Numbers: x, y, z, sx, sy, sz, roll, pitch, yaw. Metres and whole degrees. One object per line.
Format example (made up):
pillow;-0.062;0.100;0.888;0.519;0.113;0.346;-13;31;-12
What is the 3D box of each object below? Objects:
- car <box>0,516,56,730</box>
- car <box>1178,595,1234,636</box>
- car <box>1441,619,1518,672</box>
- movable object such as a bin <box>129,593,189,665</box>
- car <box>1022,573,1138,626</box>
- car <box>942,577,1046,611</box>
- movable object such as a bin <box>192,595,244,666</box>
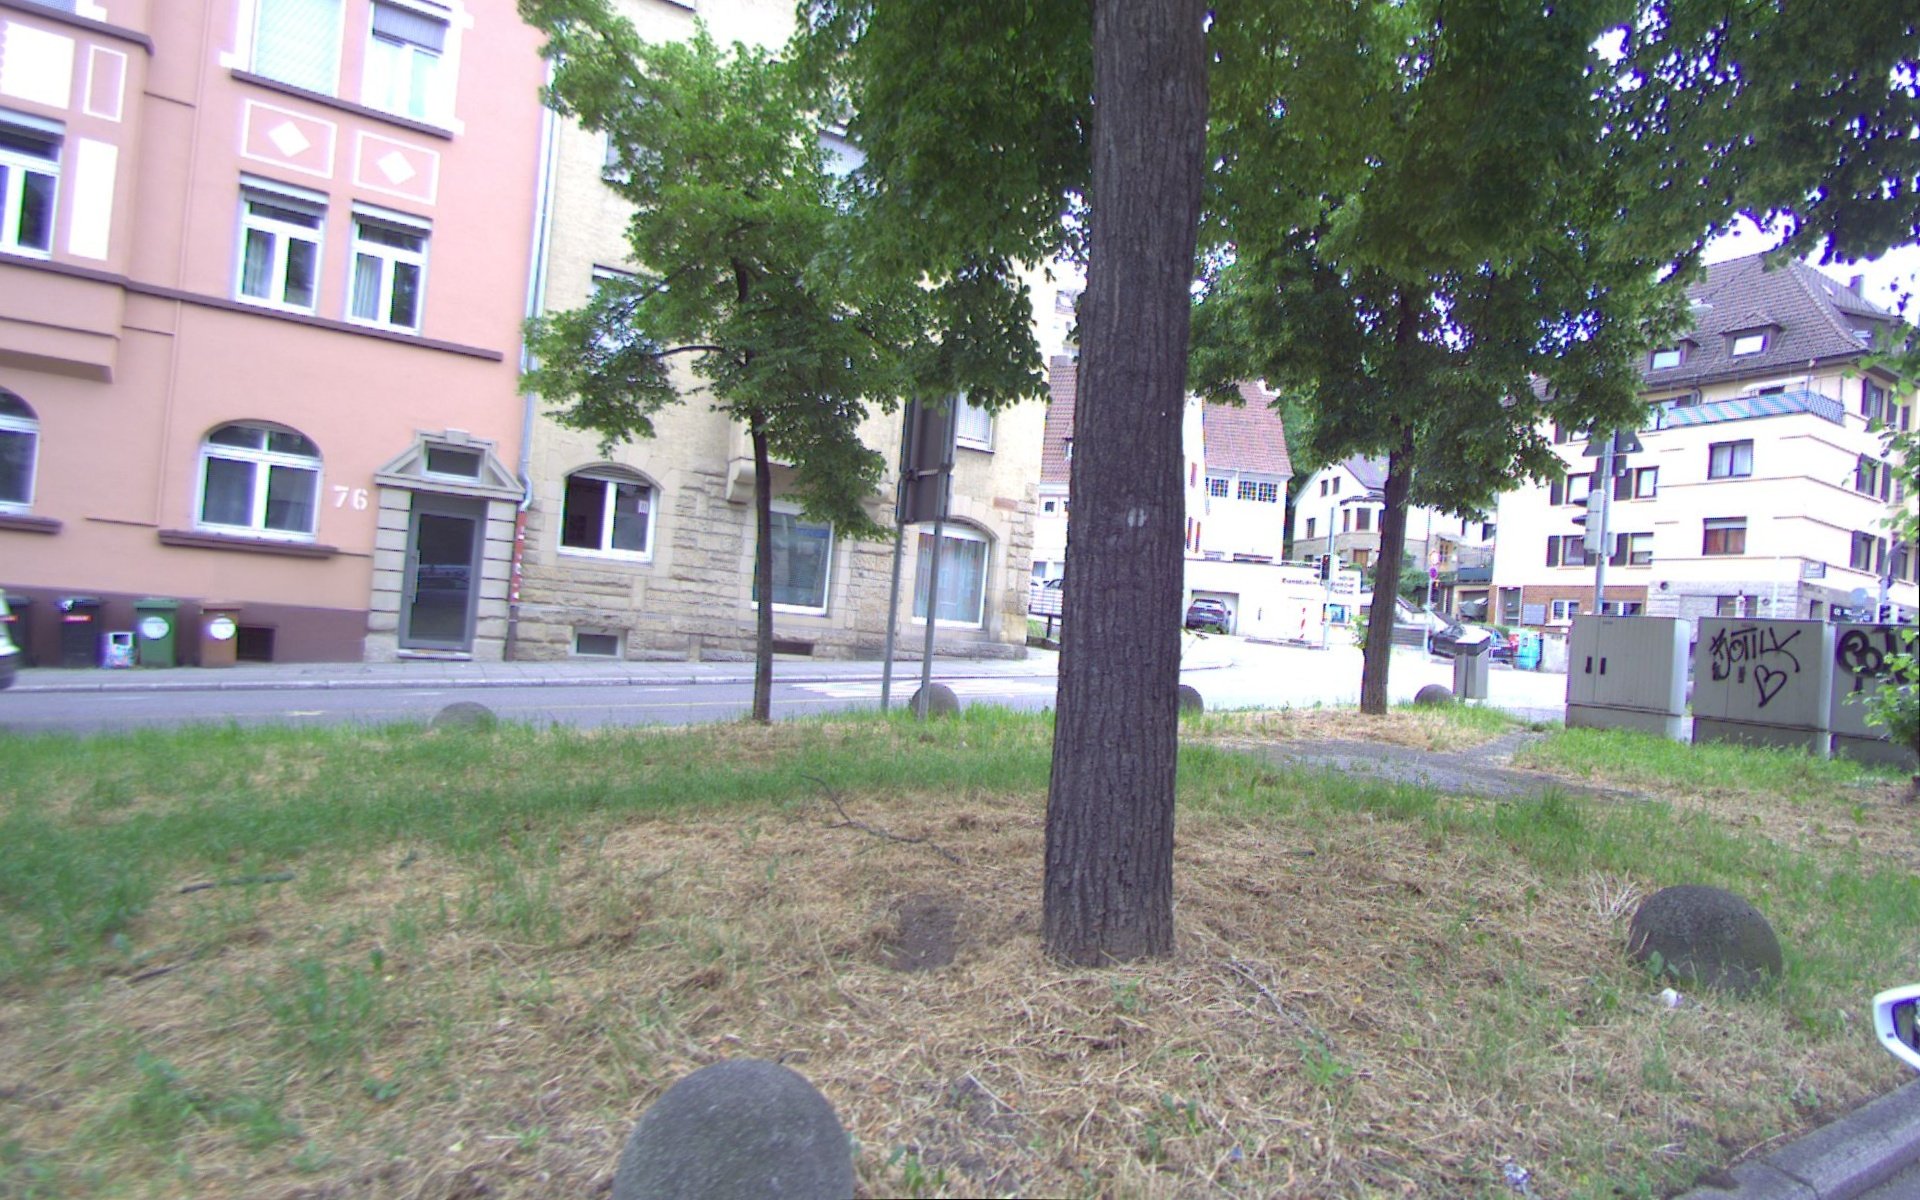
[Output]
car;-9.548;0.135;7.034;4.437;1.649;1.885;1;0;-30
car;10.740;0.648;44.022;1.639;1.423;3.057;7;3;2
car;20.803;1.782;40.400;1.832;1.618;3.519;3;5;13
movable object such as a bin;-10.791;0.388;13.549;0.554;0.934;0.649;3;-1;-34
car;4.334;-0.017;36.454;3.652;1.461;1.756;8;3;34
car;1.413;-0.253;42.421;4.060;1.296;1.645;2;-1;29
movable object such as a bin;-10.250;0.415;13.883;0.510;0.934;0.752;3;-1;-34
